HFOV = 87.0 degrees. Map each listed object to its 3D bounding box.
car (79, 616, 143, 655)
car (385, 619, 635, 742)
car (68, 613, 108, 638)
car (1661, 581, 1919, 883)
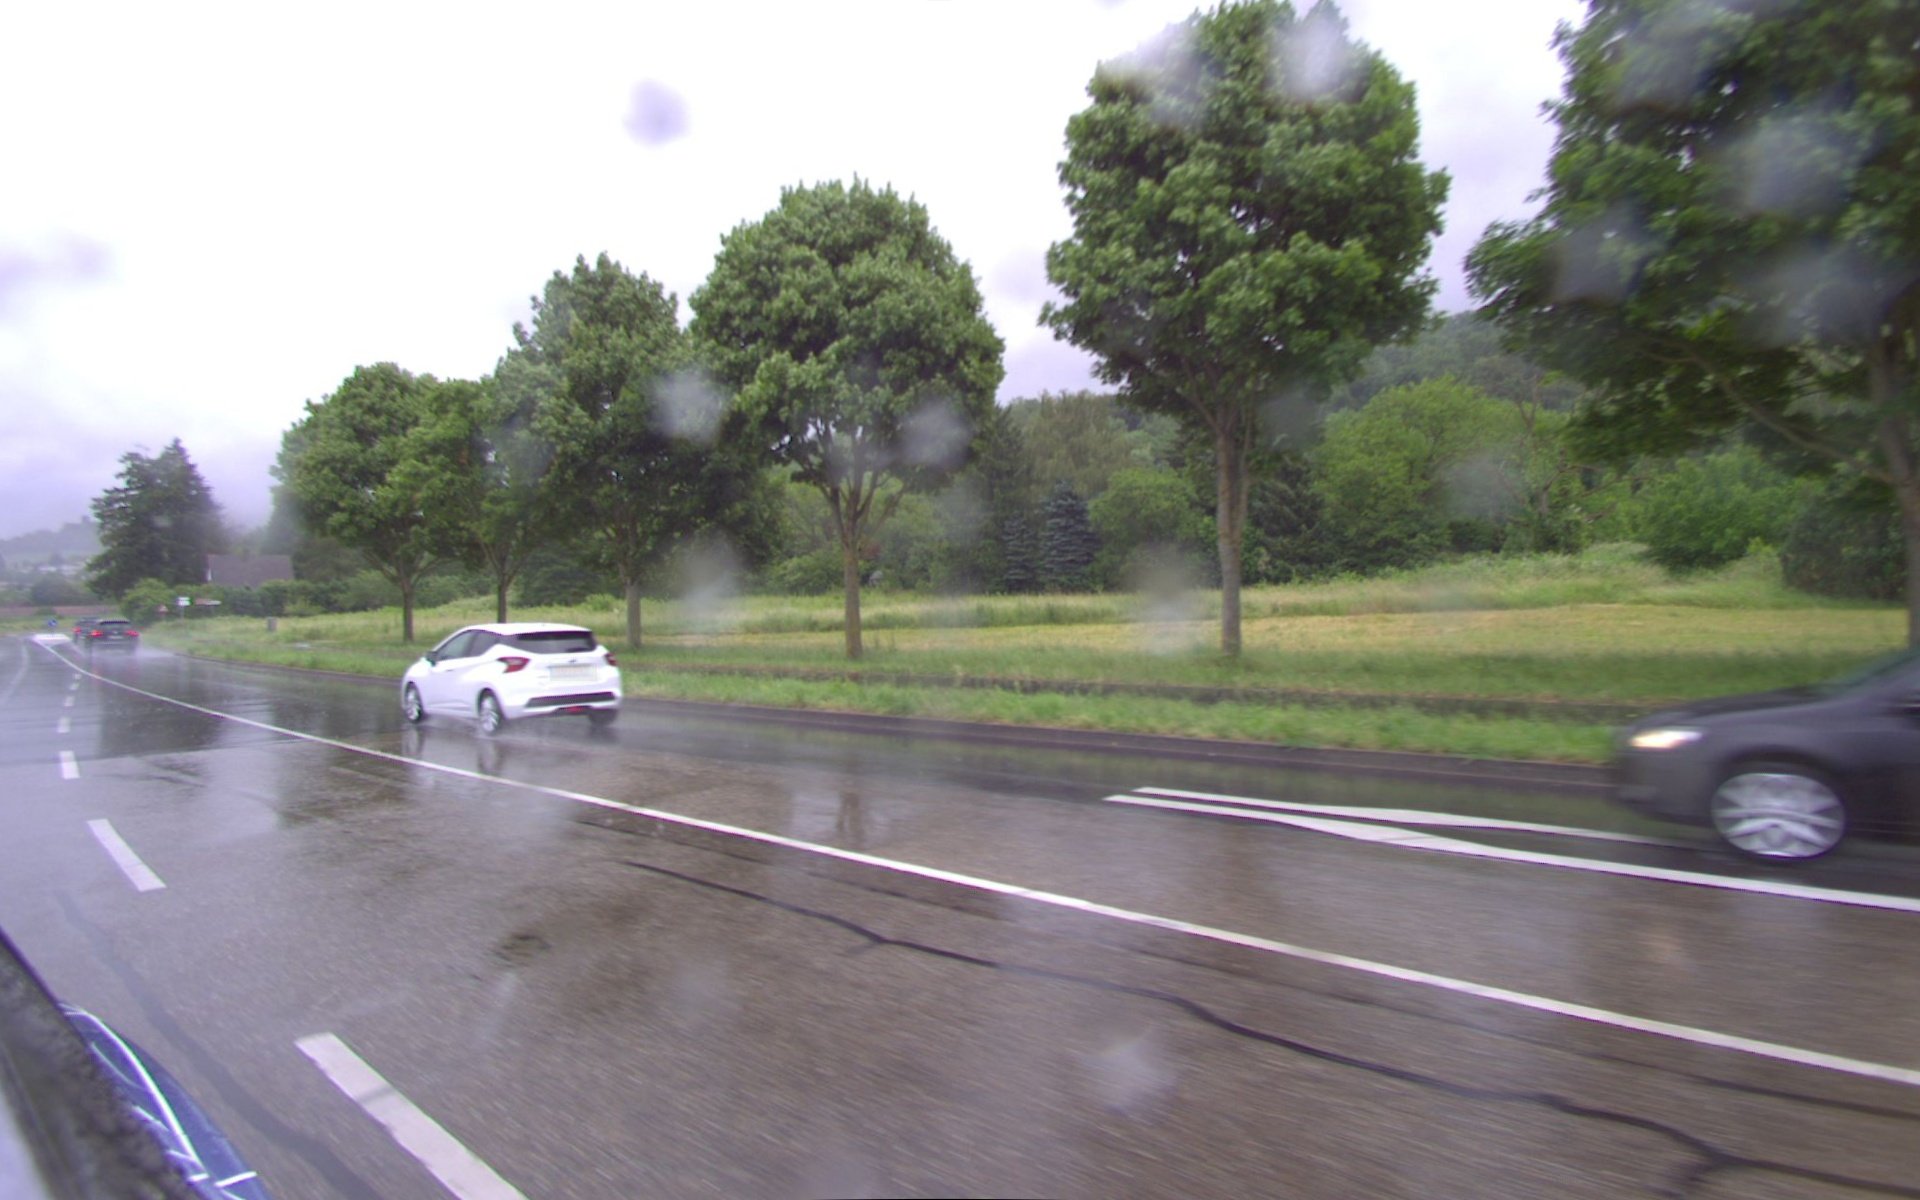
[{"bbox_3d":[-40.604,1.673,48.375,4.290,1.756,1.902,-1,-2,44],"label":"car"},{"bbox_3d":[-6.442,1.028,14.310,4.009,1.498,1.721,-1,-2,41],"label":"car"},{"bbox_3d":[-60.510,1.768,70.206,4.224,1.717,1.721,-1,-2,45],"label":"car"},{"bbox_3d":[6.390,0.684,5.579,4.110,1.599,1.867,-1,-1,36],"label":"car"}]
